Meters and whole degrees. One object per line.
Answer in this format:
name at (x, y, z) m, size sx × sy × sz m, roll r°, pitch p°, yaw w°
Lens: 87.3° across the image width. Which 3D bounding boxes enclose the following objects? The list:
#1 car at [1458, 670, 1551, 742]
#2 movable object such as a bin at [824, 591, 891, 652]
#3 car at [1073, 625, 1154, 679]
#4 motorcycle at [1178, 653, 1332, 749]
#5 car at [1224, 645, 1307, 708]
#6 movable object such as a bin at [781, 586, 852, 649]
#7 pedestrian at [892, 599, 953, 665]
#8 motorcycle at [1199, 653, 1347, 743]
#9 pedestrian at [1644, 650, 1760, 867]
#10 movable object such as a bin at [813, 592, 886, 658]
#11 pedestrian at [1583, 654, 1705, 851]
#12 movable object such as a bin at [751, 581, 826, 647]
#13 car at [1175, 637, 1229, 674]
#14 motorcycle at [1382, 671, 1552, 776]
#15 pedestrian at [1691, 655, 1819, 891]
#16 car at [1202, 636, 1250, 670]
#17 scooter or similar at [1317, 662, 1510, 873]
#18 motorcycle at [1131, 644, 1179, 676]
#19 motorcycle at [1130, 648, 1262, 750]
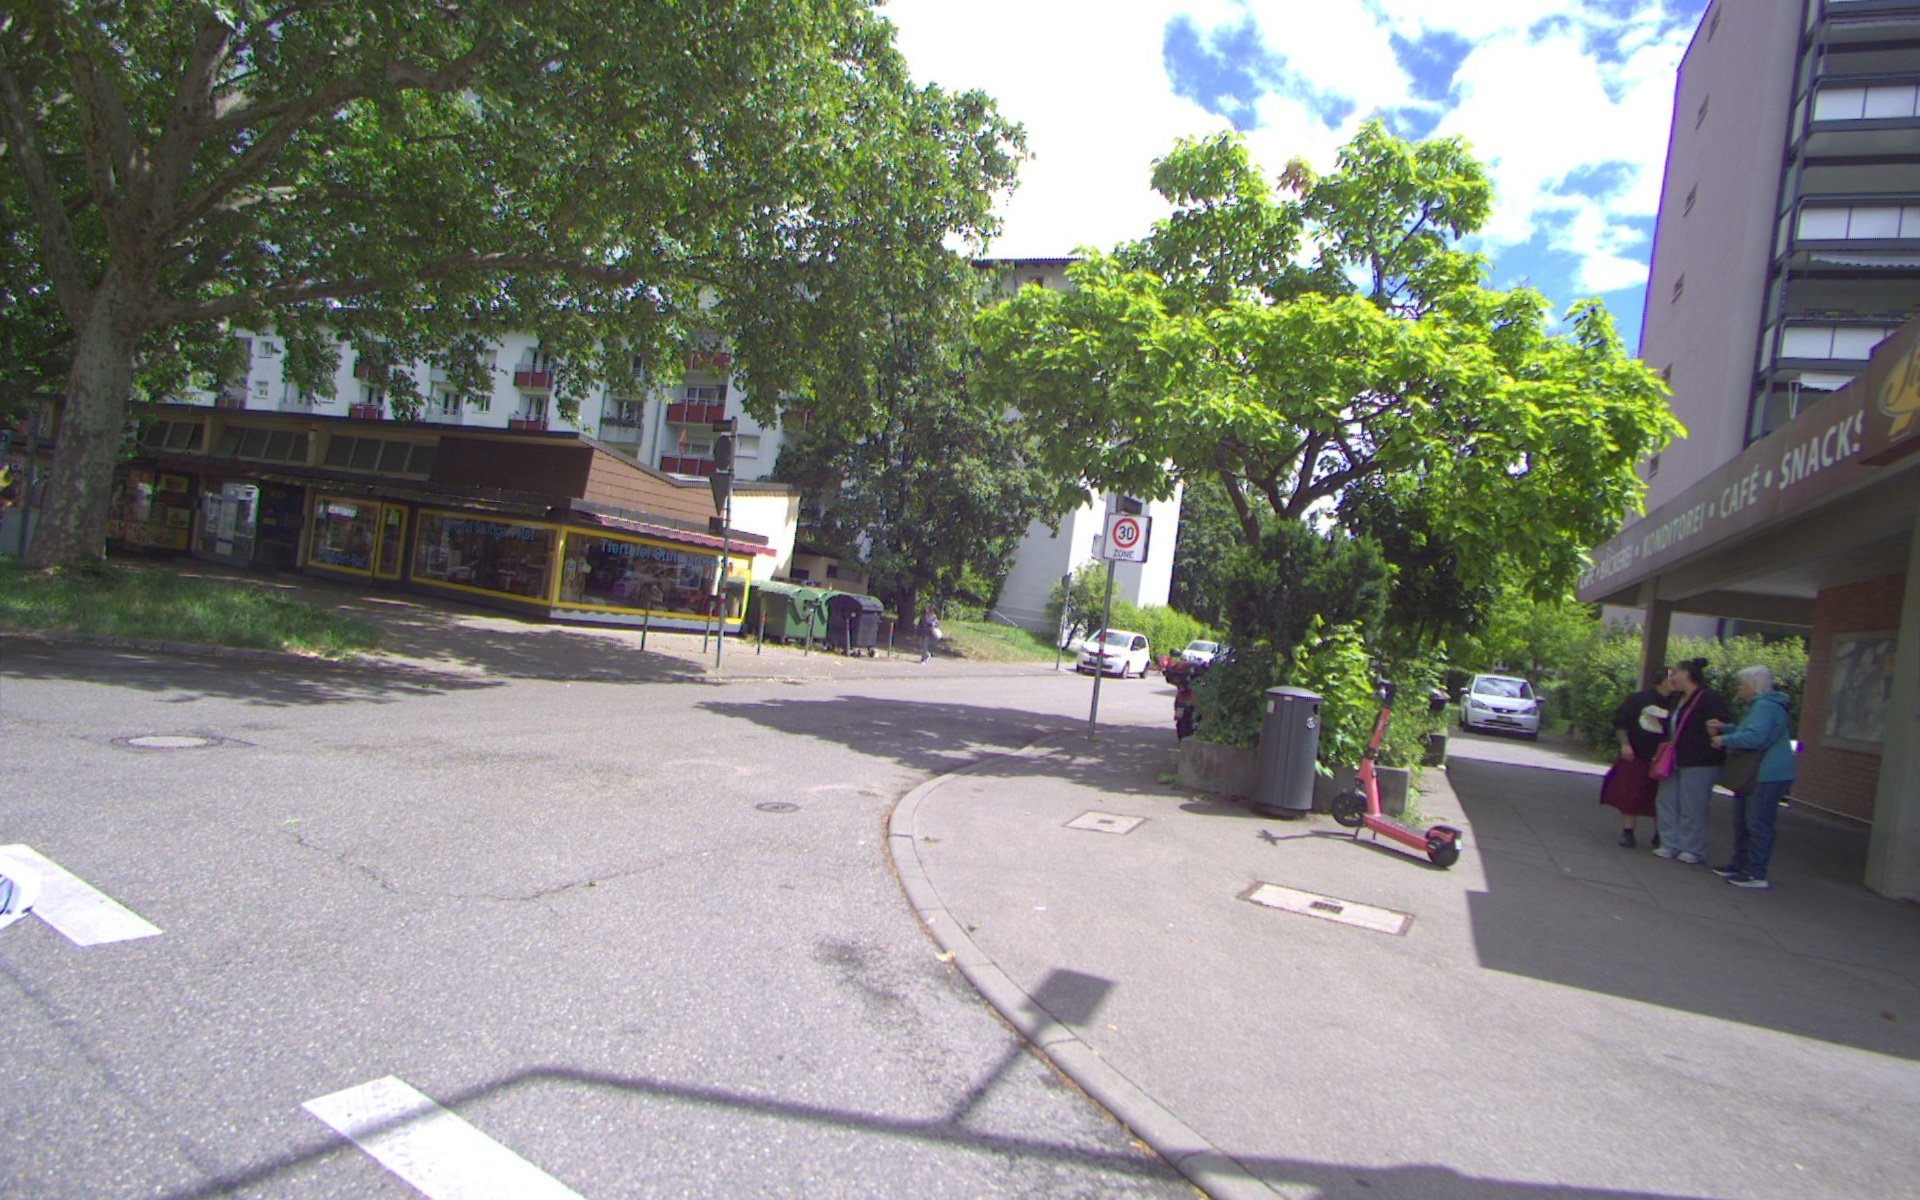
car at (13.733, 2.634, 25.551) m, size 1.718 × 1.455 × 3.487 m, roll 7°, pitch -1°, yaw 25°
movable object such as a bin at (-2.741, 0.581, 26.957) m, size 1.124 × 1.431 × 1.184 m, roll 10°, pitch 2°, yaw 29°
car at (5.062, 1.708, 32.790) m, size 1.626 × 1.504 × 3.467 m, roll 7°, pitch -1°, yaw 24°
motorcycle at (4.543, 1.553, 15.512) m, size 2.105 × 1.210 × 0.737 m, roll 7°, pitch 1°, yaw -15°
car at (8.685, 2.144, 28.415) m, size 1.609 × 1.455 × 3.487 m, roll 7°, pitch -1°, yaw 25°
movable object such as a bin at (-3.713, 0.467, 26.114) m, size 1.191 × 1.431 × 1.177 m, roll 10°, pitch 2°, yaw 29°
pedestrian at (-0.949, 0.825, 25.812) m, size 1.082 × 1.494 × 0.809 m, roll 11°, pitch 2°, yaw 28°
motorcycle at (5.133, 1.605, 16.541) m, size 2.101 × 1.210 × 0.739 m, roll 6°, pitch 1°, yaw -8°
pedestrian at (5.964, 1.258, 8.099) m, size 0.393 × 1.652 × 0.443 m, roll 6°, pitch 1°, yaw -9°
movable object such as a bin at (-2.696, 0.624, 24.608) m, size 1.124 × 1.431 × 1.184 m, roll 10°, pitch 2°, yaw 29°
pedestrian at (5.795, 1.283, 8.534) m, size 0.505 × 1.571 × 0.529 m, roll 6°, pitch 1°, yaw -27°
movable object such as a bin at (-4.257, 0.351, 25.011) m, size 1.191 × 1.431 × 1.177 m, roll 10°, pitch 2°, yaw 29°
car at (11.338, 2.596, 46.923) m, size 1.700 × 1.459 × 3.513 m, roll 7°, pitch -1°, yaw 24°
motorcycle at (7.271, 1.769, 14.446) m, size 2.104 × 1.210 × 0.738 m, roll 7°, pitch 0°, yaw -14°
pedestrian at (5.885, 1.262, 7.464) m, size 0.393 × 1.652 × 0.443 m, roll 6°, pitch 1°, yaw -9°
car at (13.618, 2.715, 51.388) m, size 1.700 × 1.459 × 3.513 m, roll 7°, pitch -1°, yaw 24°
scooter or similar at (3.311, 1.192, 7.444) m, size 0.372 × 1.324 × 1.224 m, roll 6°, pitch 0°, yaw -25°
motorcycle at (7.247, 2.238, 37.445) m, size 1.596 × 1.003 × 0.454 m, roll 7°, pitch 0°, yaw 27°
motorcycle at (3.256, 1.354, 13.730) m, size 0.729 × 1.210 × 2.128 m, roll 7°, pitch 0°, yaw 41°
